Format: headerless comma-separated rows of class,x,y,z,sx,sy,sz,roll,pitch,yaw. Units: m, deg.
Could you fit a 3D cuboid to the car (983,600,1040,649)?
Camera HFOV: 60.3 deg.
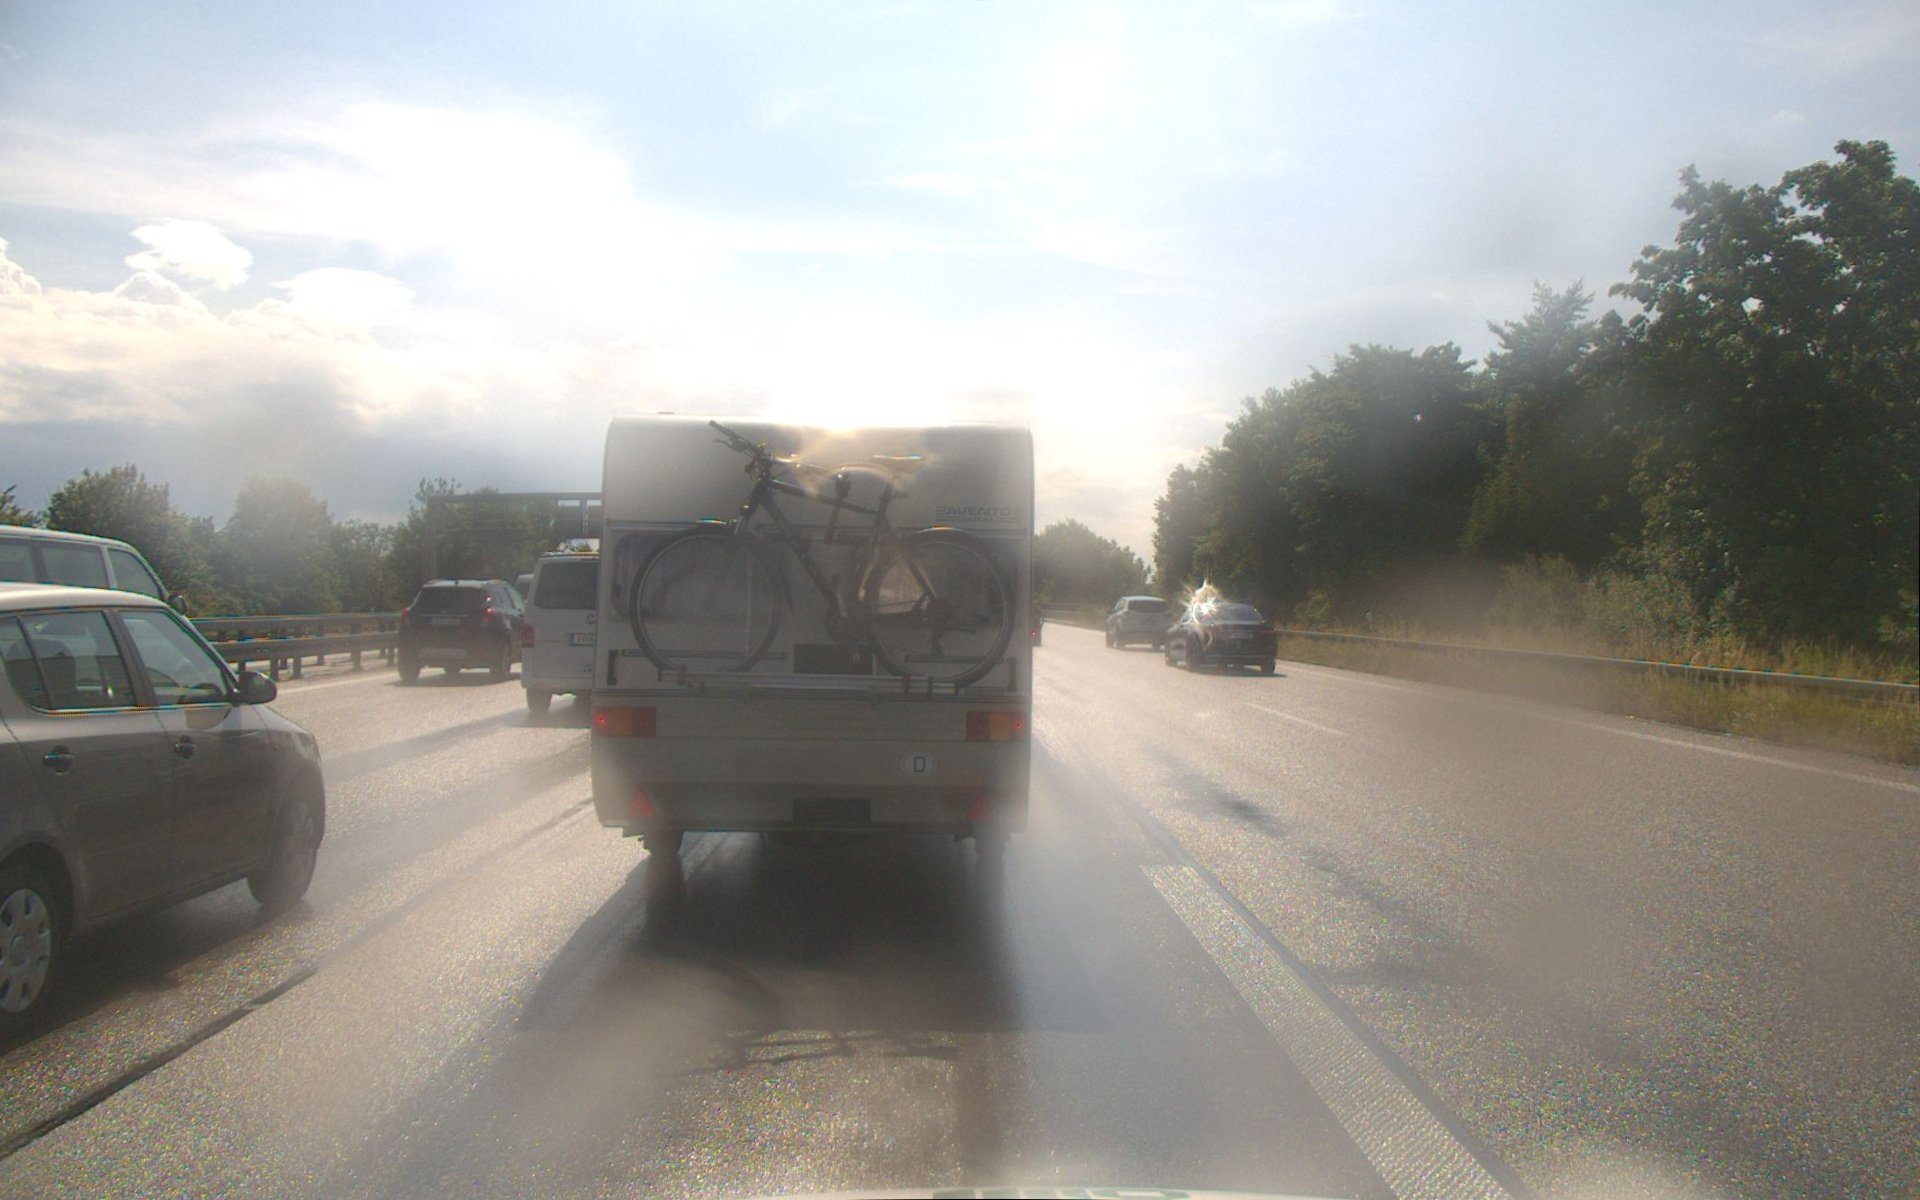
car,1.741,0.821,57.029,1.798,1.585,3.999,1,0,-1

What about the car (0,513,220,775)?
car,-8.149,0.314,13.820,1.810,1.967,5.014,1,0,-2

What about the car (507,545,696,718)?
car,-4.634,0.387,21.902,1.839,2.049,3.997,1,0,-4

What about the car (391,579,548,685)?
car,-8.445,0.528,28.809,1.737,1.691,3.997,1,0,-4

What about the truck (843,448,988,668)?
truck,-1.177,-0.903,41.036,3.083,4.707,10.730,1,0,-2

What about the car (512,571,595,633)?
car,-16.963,0.077,69.372,2.071,2.438,6.101,1,0,-1

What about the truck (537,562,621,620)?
truck,-21.231,-0.442,92.761,2.857,3.039,8.719,1,0,-2

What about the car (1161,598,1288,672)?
car,5.798,0.746,36.709,1.840,1.521,3.995,1,0,-5

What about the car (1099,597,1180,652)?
car,5.712,0.768,53.083,1.840,1.657,3.995,1,0,-5

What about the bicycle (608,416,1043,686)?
bicycle,-0.593,-0.214,7.497,1.894,1.161,0.384,1,-1,-2

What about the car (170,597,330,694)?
car,-15.676,0.951,36.745,1.954,2.025,3.998,1,0,-3

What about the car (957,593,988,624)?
car,0.682,0.453,94.612,1.684,1.713,3.999,1,0,-1

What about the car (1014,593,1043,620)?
car,4.471,0.432,107.915,1.684,1.713,3.999,1,0,-1

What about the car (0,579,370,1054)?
car,-3.979,0.660,6.522,1.947,1.483,3.826,1,0,-1

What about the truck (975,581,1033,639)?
truck,1.934,0.431,74.356,2.366,2.486,6.052,1,0,-1

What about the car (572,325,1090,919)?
car,-0.616,0.114,9.688,2.361,2.721,3.999,1,0,-1
